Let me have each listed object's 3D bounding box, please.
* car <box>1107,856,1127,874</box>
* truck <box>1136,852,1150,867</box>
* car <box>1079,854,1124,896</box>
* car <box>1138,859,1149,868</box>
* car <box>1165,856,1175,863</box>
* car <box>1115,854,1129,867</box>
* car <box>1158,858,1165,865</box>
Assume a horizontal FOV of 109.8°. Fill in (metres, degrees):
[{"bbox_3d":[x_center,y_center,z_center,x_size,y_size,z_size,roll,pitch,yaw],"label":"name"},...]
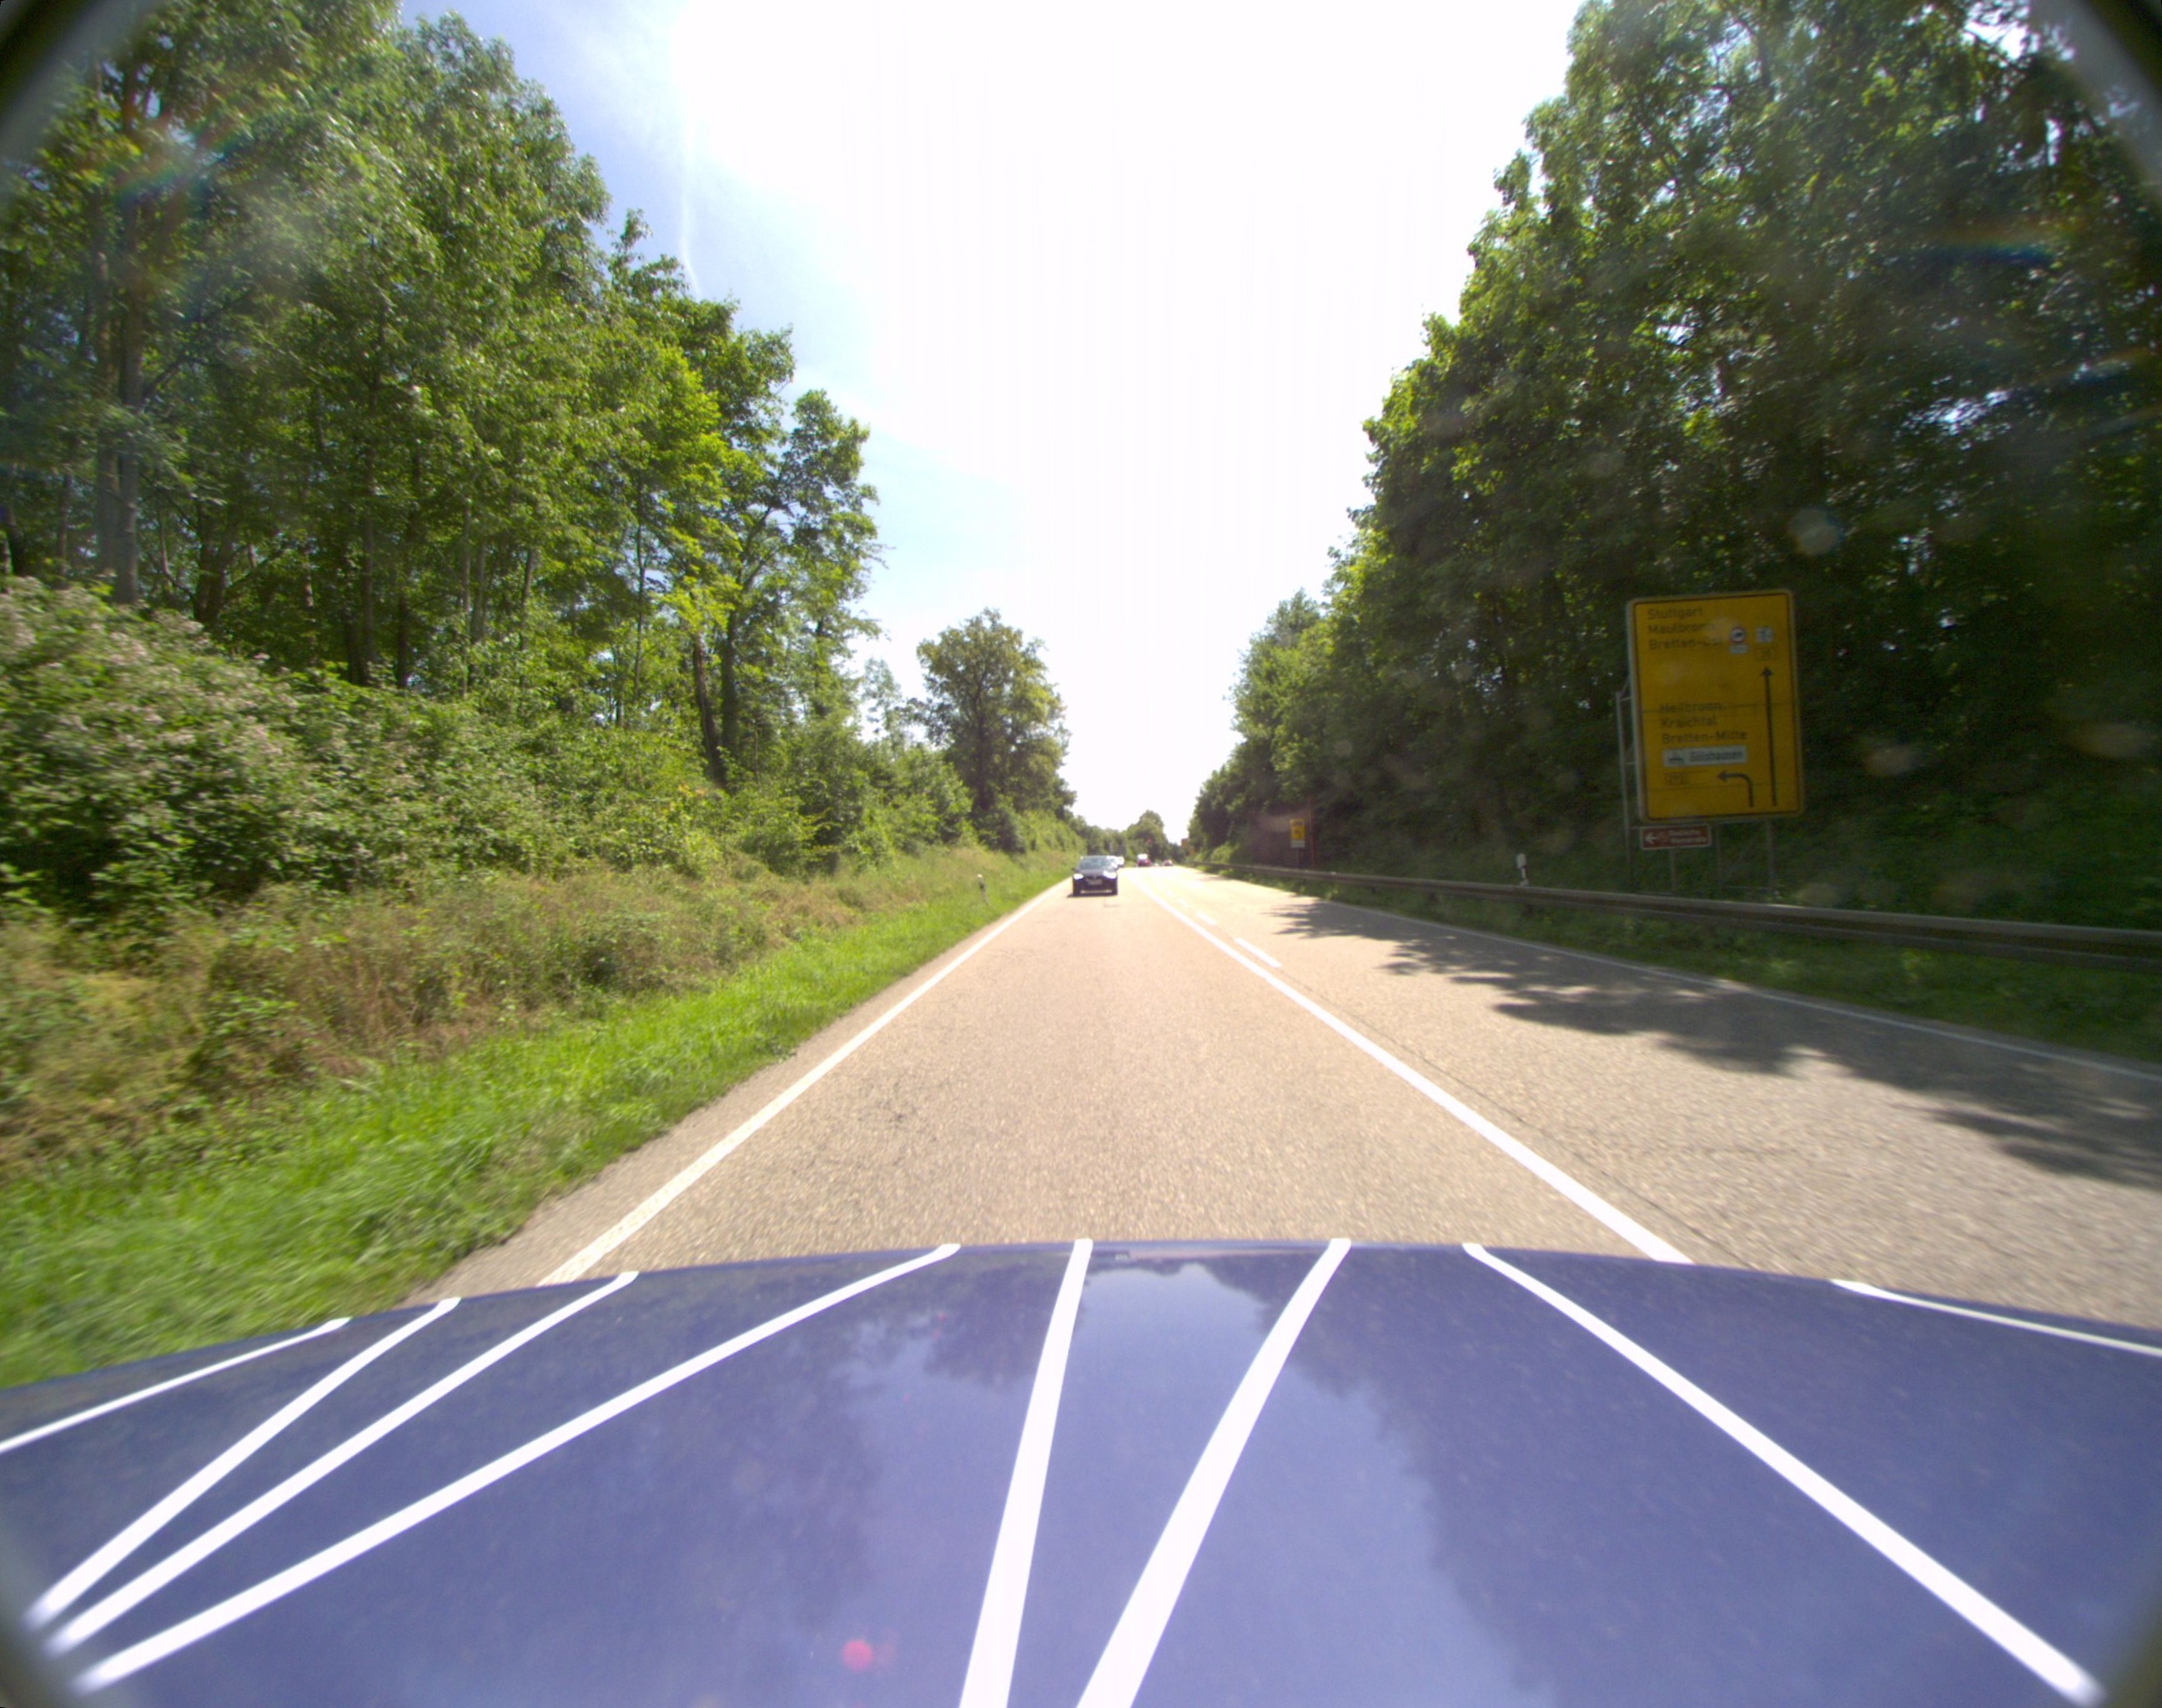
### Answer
[{"bbox_3d":[3.569,1.157,76.726,1.770,1.673,4.001,-4,-1,0],"label":"car"},{"bbox_3d":[16.590,1.363,202.990,2.838,3.794,8.457,-3,0,11],"label":"truck"},{"bbox_3d":[0.843,0.791,30.349,1.626,1.535,4.001,-1,-1,2],"label":"car"},{"bbox_3d":[11.349,1.694,137.416,1.808,1.444,4.389,-2,-1,7],"label":"car"},{"bbox_3d":[18.587,1.217,158.332,1.810,1.427,3.873,-1,0,5],"label":"car"},{"bbox_3d":[6.845,1.093,126.840,1.998,2.001,4.002,-4,-1,6],"label":"car"},{"bbox_3d":[26.284,2.506,247.652,1.997,2.001,4.004,-4,-1,10],"label":"car"}]
